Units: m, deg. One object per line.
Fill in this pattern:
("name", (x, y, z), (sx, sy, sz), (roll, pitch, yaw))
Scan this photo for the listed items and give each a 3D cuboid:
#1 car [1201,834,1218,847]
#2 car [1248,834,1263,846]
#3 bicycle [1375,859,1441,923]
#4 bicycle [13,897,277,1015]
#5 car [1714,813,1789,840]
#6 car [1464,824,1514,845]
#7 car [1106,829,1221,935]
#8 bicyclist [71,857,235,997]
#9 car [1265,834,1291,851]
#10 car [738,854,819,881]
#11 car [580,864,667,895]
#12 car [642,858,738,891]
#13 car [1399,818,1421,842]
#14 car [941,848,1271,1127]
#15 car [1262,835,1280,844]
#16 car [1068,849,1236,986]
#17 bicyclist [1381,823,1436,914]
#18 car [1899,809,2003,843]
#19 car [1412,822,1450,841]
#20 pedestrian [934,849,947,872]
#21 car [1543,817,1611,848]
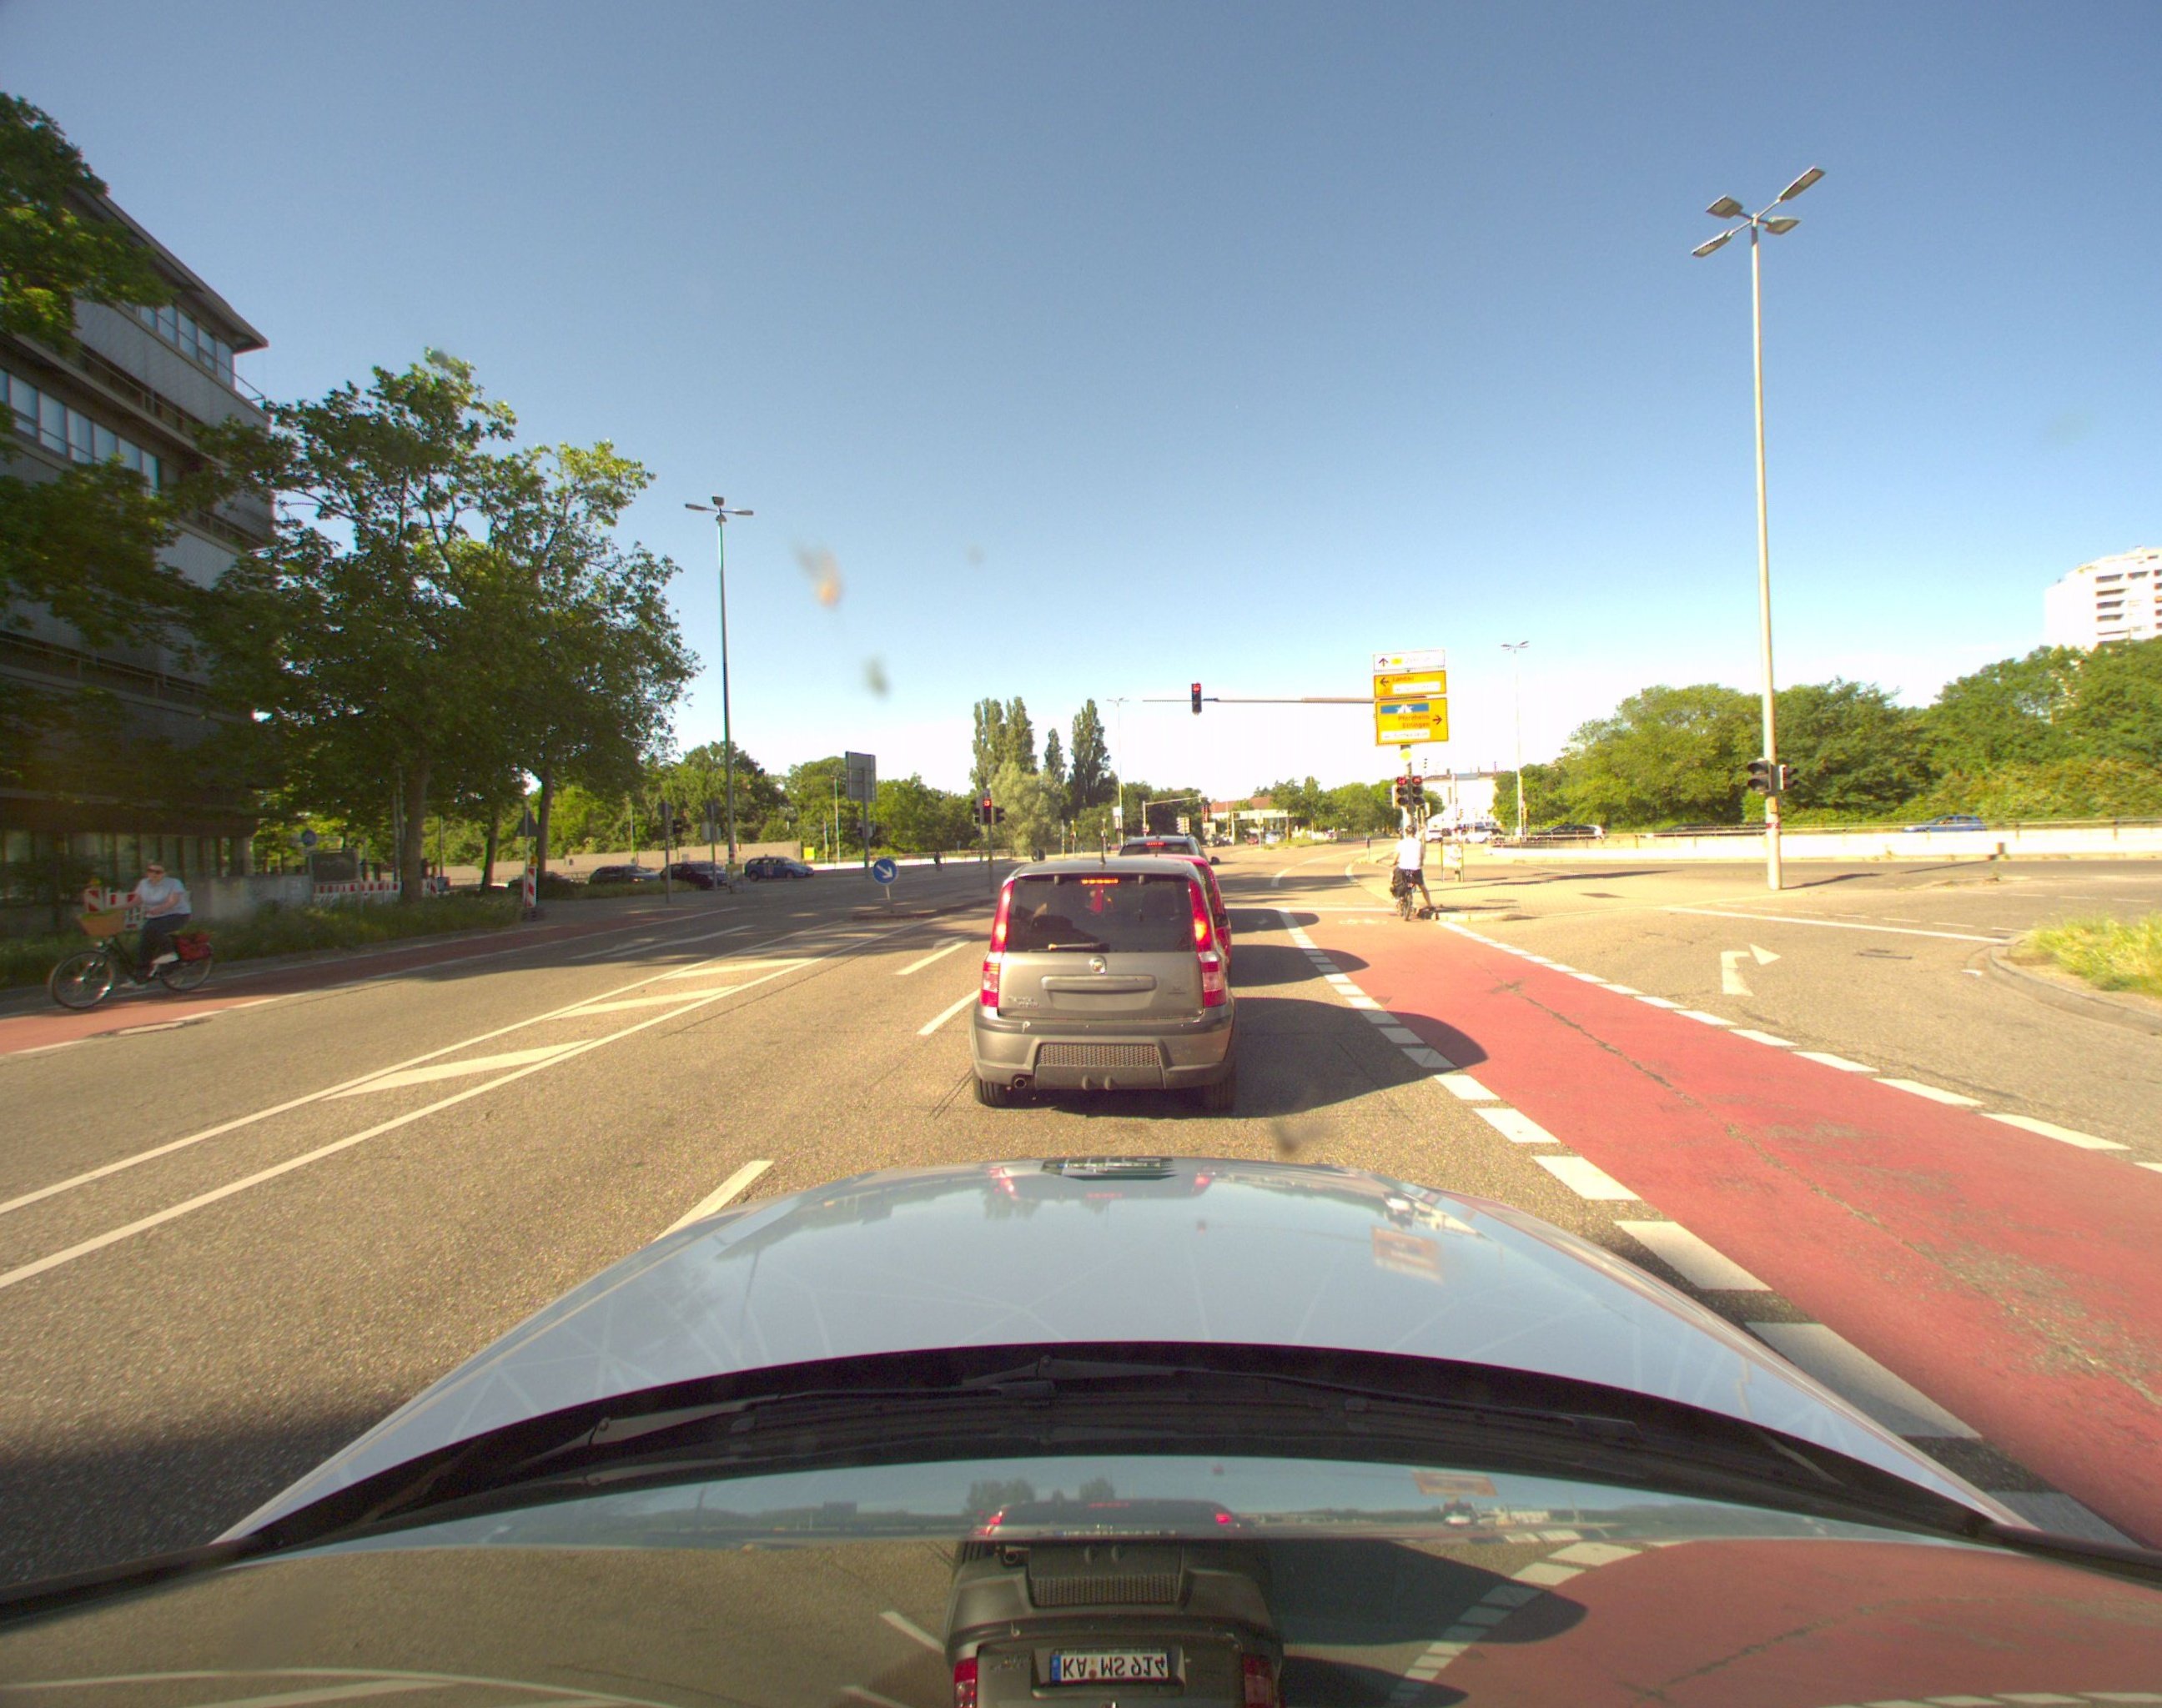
("car", (20.321, -2.051, 128.530), (1.997, 1.855, 4.450), (-2, -2, 17))
("car", (30.463, -2.411, 142.288), (1.997, 1.855, 4.908), (-2, -2, 18))
("bicycle", (6.474, 0.681, 16.055), (0.791, 1.110, 2.417), (-1, 1, 32))
("bicycle", (-12.316, 1.280, 10.879), (0.684, 1.202, 2.329), (-2, 1, 3))
("car", (48.156, -1.954, 58.508), (2.011, 1.662, 3.950), (1, -2, -45))
("car", (38.158, -1.792, 76.322), (1.998, 1.750, 3.977), (-1, -2, -16))
("car", (1.778, 0.443, 16.189), (1.857, 1.790, 4.428), (0, 1, 11))
("bicyclist", (-12.330, 0.929, 10.876), (0.684, 1.701, 1.199), (-2, 1, 2))
("car", (24.453, -1.437, 101.043), (1.994, 1.855, 4.914), (-2, -2, 26))
("car", (-18.859, 0.828, 50.789), (4.402, 1.438, 1.834), (-2, 0, 16))
("car", (-24.953, 1.389, 44.424), (4.396, 1.438, 1.836), (-2, 1, 24))
("car", (-19.635, 1.039, 40.867), (4.396, 1.438, 1.836), (-2, 1, 24))
("car", (41.142, -2.966, 101.815), (2.233, 2.607, 4.914), (-2, -2, 26))
("car", (0.319, 0.706, 6.479), (1.811, 1.489, 4.006), (0, 1, 5))
("car", (35.656, -2.672, 152.516), (1.994, 1.545, 4.917), (-2, 1, 28))
("car", (0.933, 0.682, 10.825), (1.811, 1.479, 4.005), (0, 0, 5))
("bicyclist", (6.462, 0.269, 16.047), (0.791, 1.705, 1.092), (-1, 0, 31))
("car", (55.471, -1.760, 52.068), (4.205, 1.855, 2.032), (-2, -2, 37))
("car", (36.816, -2.331, 85.774), (1.991, 1.750, 3.991), (-1, -2, -6))
("pedestrian", (-9.644, 0.448, 55.907), (0.684, 1.538, 1.365), (-1, -4, 0))
("car", (36.397, -1.557, 59.744), (3.948, 2.014, 2.012), (-3, -2, 40))
